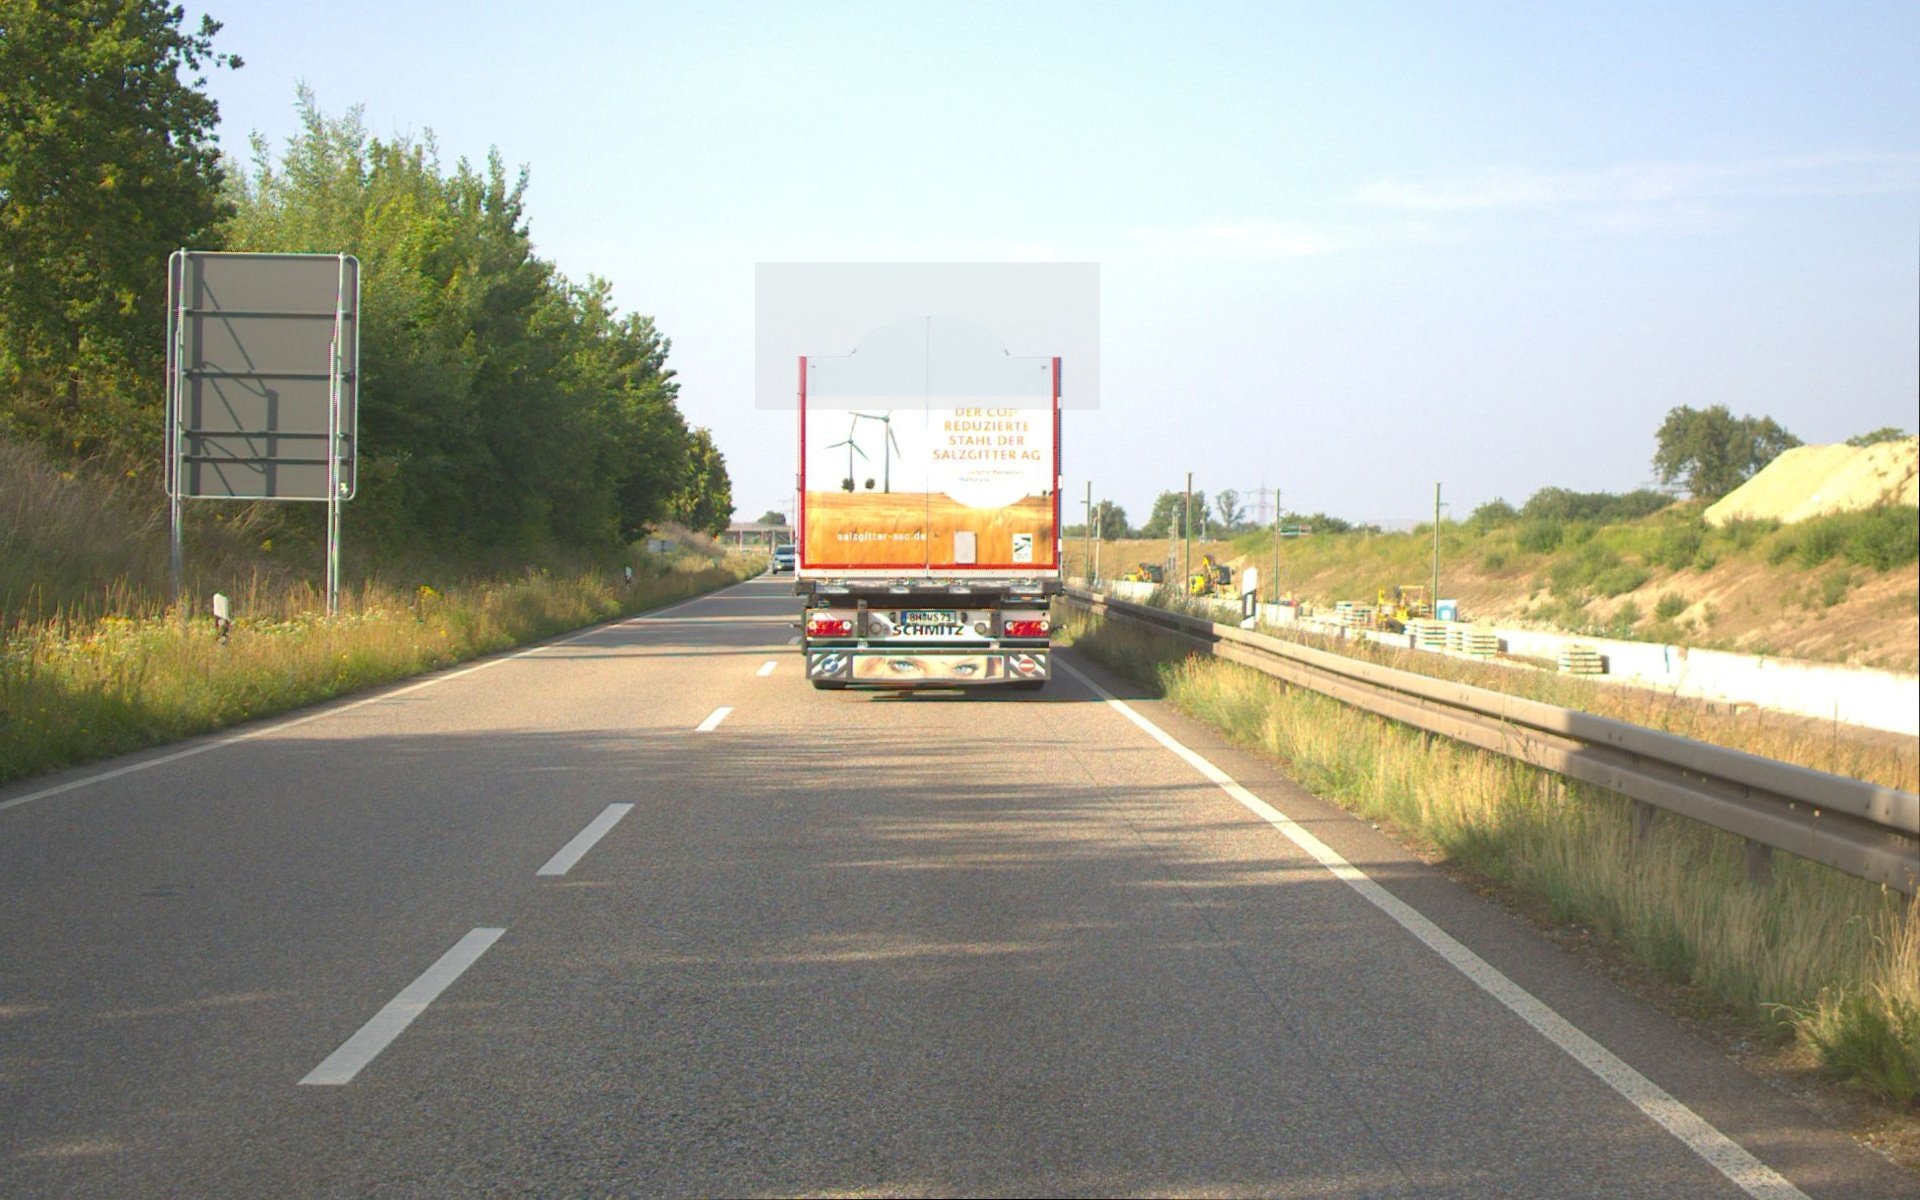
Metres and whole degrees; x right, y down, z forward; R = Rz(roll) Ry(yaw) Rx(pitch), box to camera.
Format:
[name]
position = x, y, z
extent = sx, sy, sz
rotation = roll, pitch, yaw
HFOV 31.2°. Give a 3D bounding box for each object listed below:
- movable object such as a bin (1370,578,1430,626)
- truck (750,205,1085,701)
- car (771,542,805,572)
[movable object such as a bin]
position = 25.005, 0.120, 195.407
extent = 2.907, 2.652, 2.017
rotation = 1, 1, 23
[truck]
position = -0.534, -1.452, 36.693
extent = 3.153, 4.672, 8.442
rotation = 0, 1, -2
[car]
position = -9.243, -2.304, 184.956
extent = 1.744, 1.559, 4.366
rotation = 1, 1, -2
